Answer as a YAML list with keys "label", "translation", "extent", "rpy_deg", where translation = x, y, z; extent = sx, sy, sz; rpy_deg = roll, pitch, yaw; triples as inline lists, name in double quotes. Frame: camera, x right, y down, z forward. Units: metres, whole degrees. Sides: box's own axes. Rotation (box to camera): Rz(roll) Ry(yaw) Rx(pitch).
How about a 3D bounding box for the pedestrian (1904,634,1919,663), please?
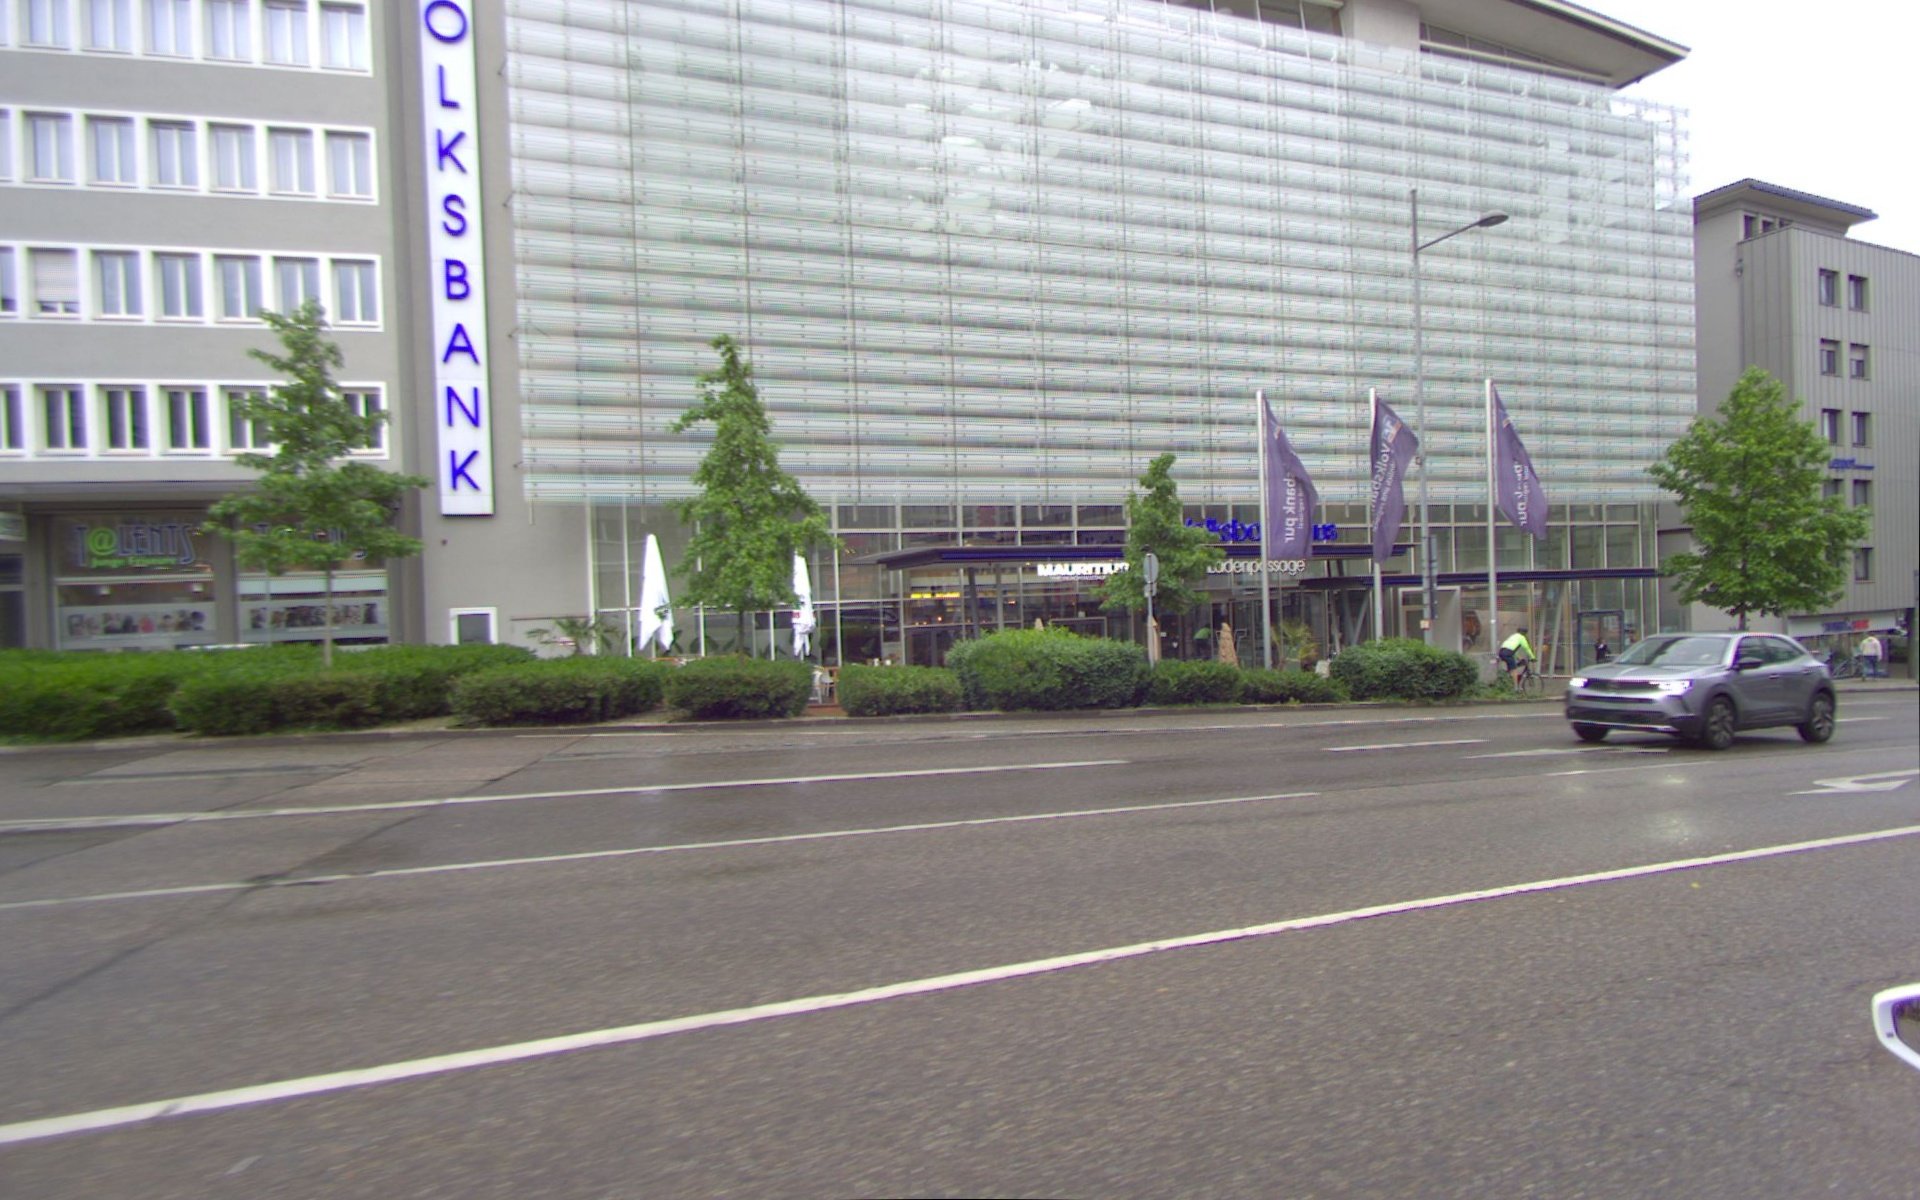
- label: "pedestrian"
  translation: [56.689, 2.862, 59.469]
  extent: [0.936, 1.745, 0.758]
  rpy_deg: [0, -1, -14]

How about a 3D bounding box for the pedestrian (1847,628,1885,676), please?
- label: "pedestrian"
  translation: [33.456, 1.904, 37.080]
  extent: [0.983, 1.745, 1.032]
  rpy_deg: [-1, -2, 45]

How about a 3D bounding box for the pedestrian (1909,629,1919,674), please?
- label: "pedestrian"
  translation: [38.058, 2.026, 39.295]
  extent: [1.073, 1.745, 0.972]
  rpy_deg: [1, -1, -20]

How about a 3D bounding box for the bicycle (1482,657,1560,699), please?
- label: "bicycle"
  translation: [15.491, 2.155, 27.748]
  extent: [2.038, 1.114, 0.678]
  rpy_deg: [2, -2, -18]

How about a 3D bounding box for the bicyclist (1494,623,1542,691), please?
- label: "bicyclist"
  translation: [15.395, 1.566, 27.719]
  extent: [0.974, 1.854, 0.668]
  rpy_deg: [1, -2, -17]

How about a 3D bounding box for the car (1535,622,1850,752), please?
- label: "car"
  translation: [10.142, 1.125, 13.894]
  extent: [4.040, 1.572, 1.835]
  rpy_deg: [1, -3, -26]

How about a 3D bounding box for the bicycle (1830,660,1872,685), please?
- label: "bicycle"
  translation: [41.850, 3.377, 47.169]
  extent: [2.637, 1.101, 0.609]
  rpy_deg: [2, 0, -28]

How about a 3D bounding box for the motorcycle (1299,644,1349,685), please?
- label: "motorcycle"
  translation: [12.212, 2.140, 33.751]
  extent: [0.757, 1.312, 1.545]
  rpy_deg: [1, -1, -20]

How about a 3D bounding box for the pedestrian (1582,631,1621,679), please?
- label: "pedestrian"
  translation: [20.237, 1.726, 31.704]
  extent: [0.832, 1.475, 0.651]
  rpy_deg: [1, -1, -20]

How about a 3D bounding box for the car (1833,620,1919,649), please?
- label: "car"
  translation: [64.067, 2.388, 69.644]
  extent: [1.983, 1.782, 5.030]
  rpy_deg: [1, 1, -39]
